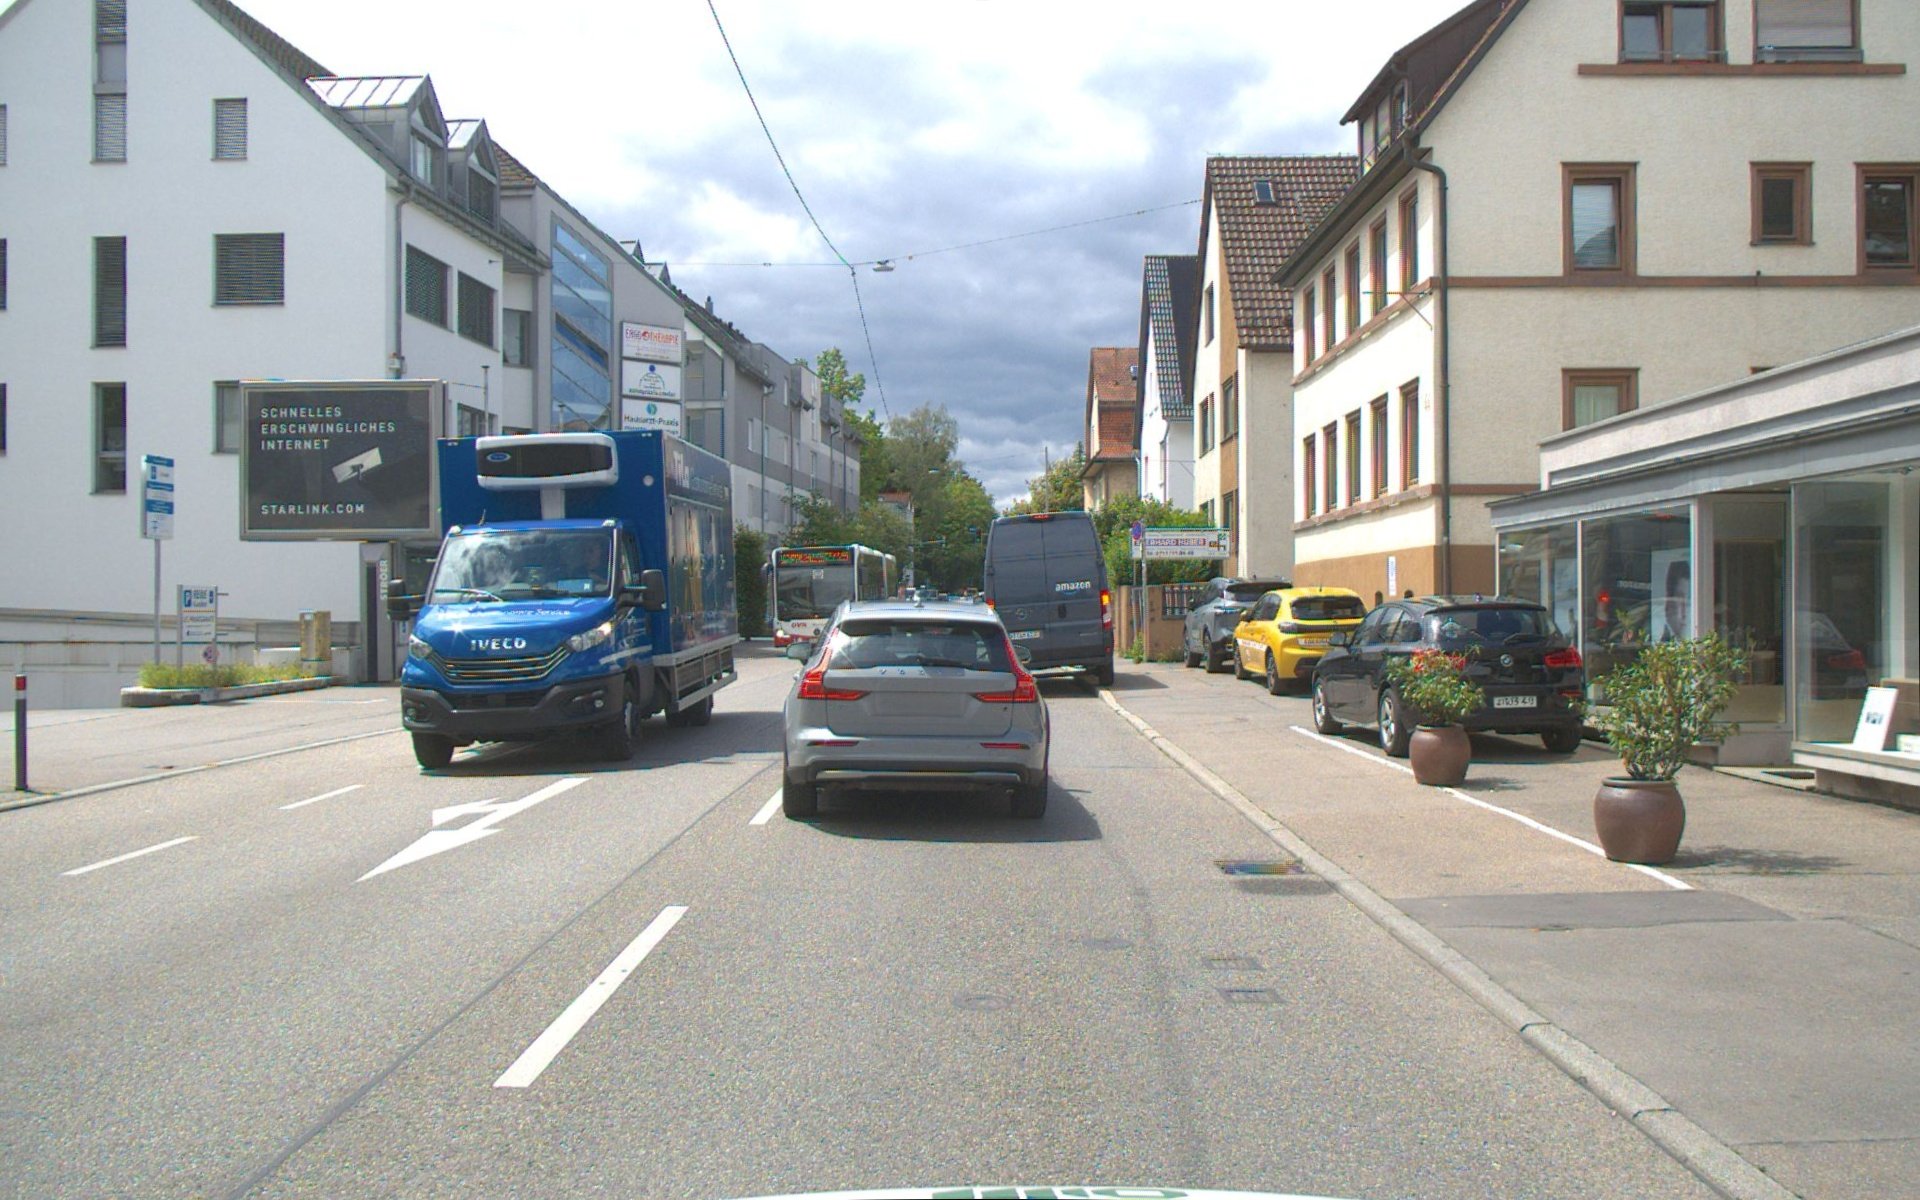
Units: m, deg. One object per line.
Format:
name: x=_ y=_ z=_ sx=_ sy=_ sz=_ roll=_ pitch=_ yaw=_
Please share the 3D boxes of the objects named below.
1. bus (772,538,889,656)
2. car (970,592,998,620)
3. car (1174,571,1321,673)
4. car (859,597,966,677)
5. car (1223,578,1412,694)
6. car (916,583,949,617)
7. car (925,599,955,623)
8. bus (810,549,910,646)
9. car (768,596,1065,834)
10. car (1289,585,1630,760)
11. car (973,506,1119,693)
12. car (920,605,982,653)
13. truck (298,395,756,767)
bus: x=-3.773 y=-0.078 z=50.429 sx=2.627 sy=3.219 sz=10.185 roll=-1 pitch=0 yaw=1
car: x=1.774 y=0.419 z=122.636 sx=1.952 sy=2.049 sz=4.001 roll=0 pitch=0 yaw=2
car: x=5.084 y=0.351 z=29.841 sx=1.822 sy=1.640 sz=4.586 roll=-2 pitch=0 yaw=0
car: x=-0.891 y=0.690 z=33.028 sx=1.857 sy=1.472 sz=3.970 roll=1 pitch=0 yaw=2
car: x=5.294 y=0.469 z=25.051 sx=1.839 sy=1.472 sz=4.307 roll=-1 pitch=2 yaw=-1
car: x=-1.831 y=0.020 z=110.594 sx=2.062 sy=2.158 sz=4.765 roll=-2 pitch=0 yaw=0
car: x=-1.443 y=0.793 z=120.971 sx=2.062 sy=1.739 sz=4.765 roll=0 pitch=0 yaw=0
bus: x=-3.468 y=-0.077 z=59.575 sx=2.659 sy=3.219 sz=8.071 roll=-1 pitch=0 yaw=3
car: x=-0.292 y=0.725 z=12.444 sx=1.858 sy=1.479 sz=3.968 roll=1 pitch=0 yaw=-1
car: x=4.765 y=0.618 z=16.543 sx=1.928 sy=1.473 sz=4.534 roll=-1 pitch=0 yaw=-2
car: x=1.455 y=-0.009 z=28.189 sx=2.205 sy=2.844 sz=5.571 roll=-1 pitch=0 yaw=3
car: x=-0.273 y=0.929 z=54.685 sx=1.857 sy=1.472 sz=3.970 roll=1 pitch=0 yaw=2
truck: x=-4.194 y=-0.161 z=18.155 sx=2.795 sy=3.147 sz=8.089 roll=-1 pitch=0 yaw=1
